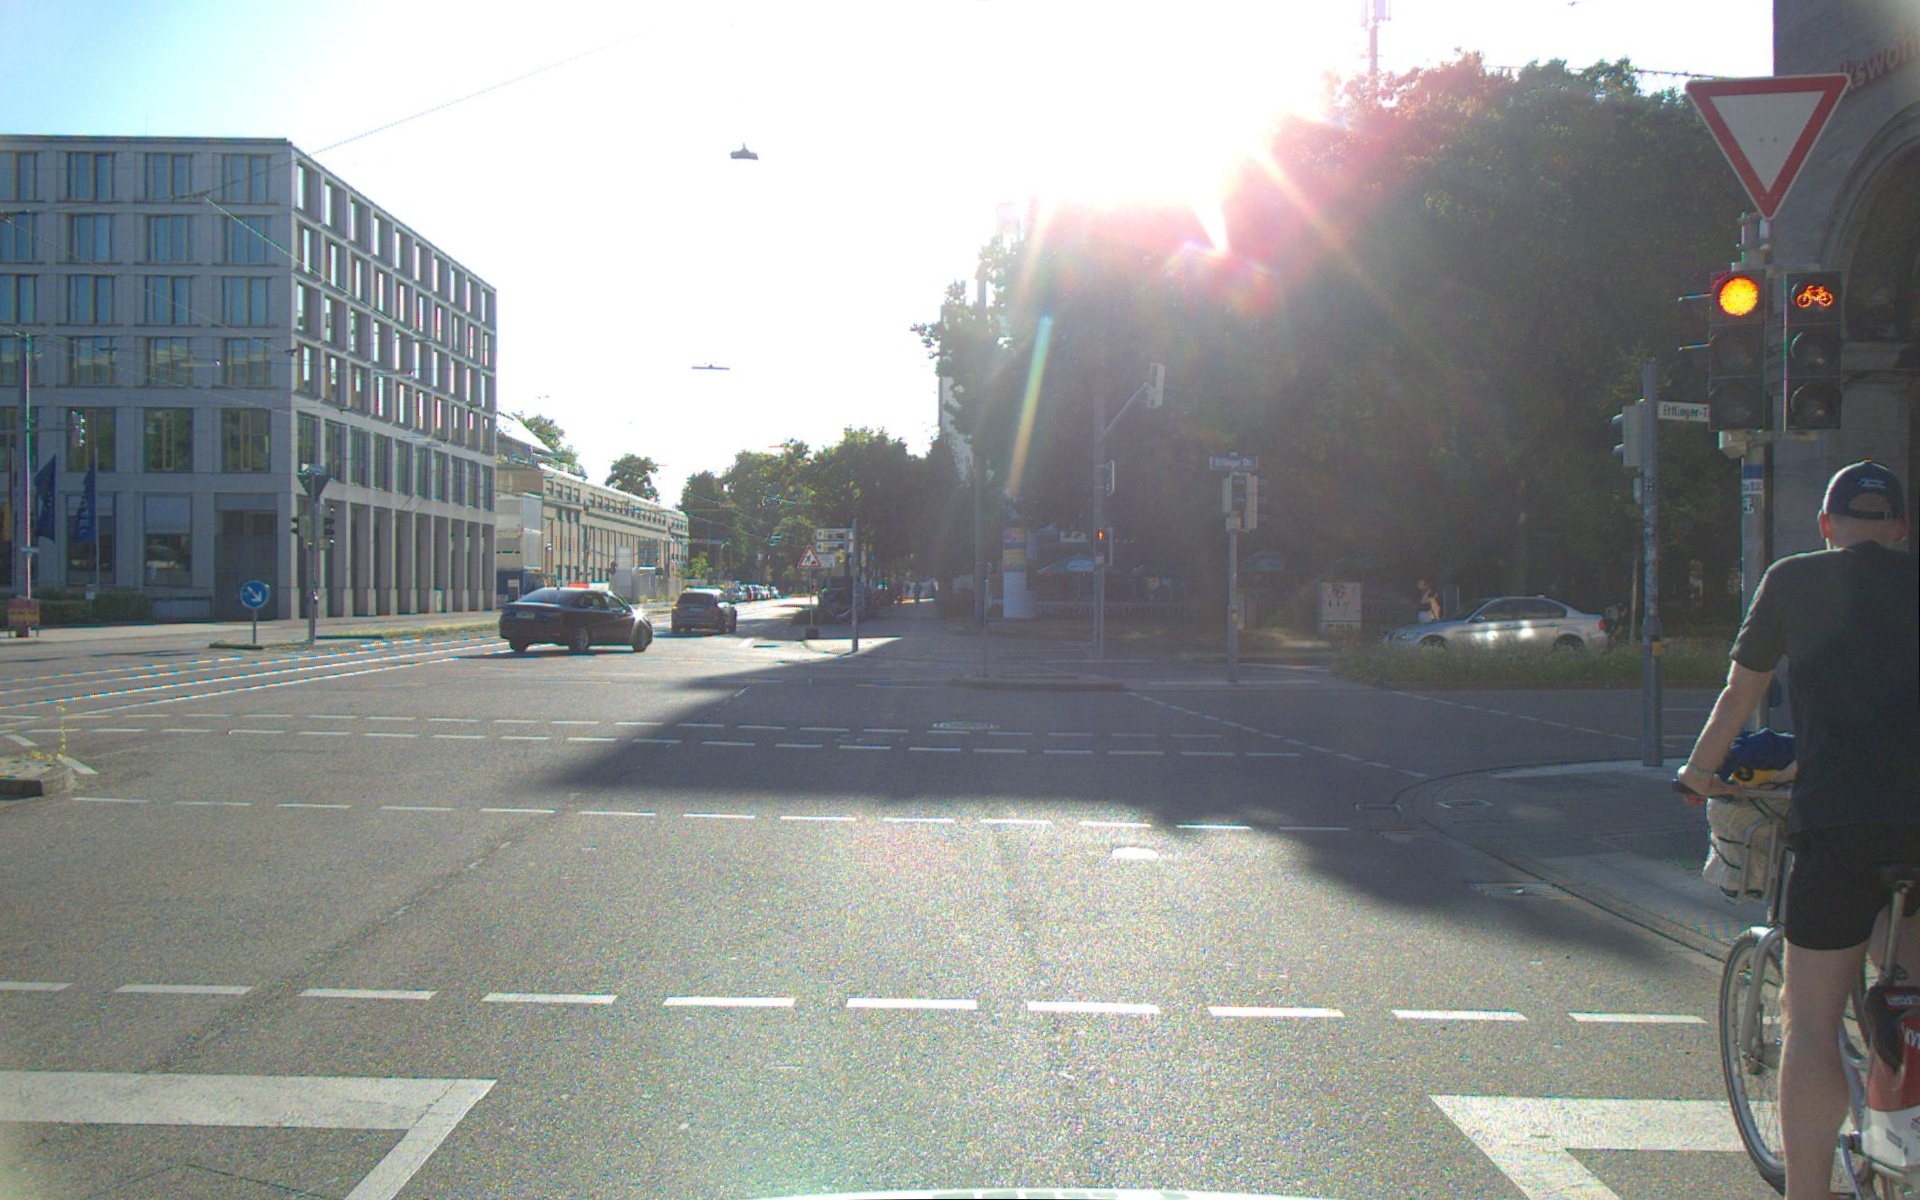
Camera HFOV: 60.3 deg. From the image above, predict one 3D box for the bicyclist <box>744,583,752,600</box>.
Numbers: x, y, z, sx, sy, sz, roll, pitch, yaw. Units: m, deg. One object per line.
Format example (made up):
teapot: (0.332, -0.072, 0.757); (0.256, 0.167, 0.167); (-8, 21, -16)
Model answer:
bicyclist: (-17.892, -0.726, 139.639); (0.584, 1.401, 0.637); (1, -1, -2)

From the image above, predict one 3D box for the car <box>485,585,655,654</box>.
car: (-8.977, 0.427, 38.421); (1.626, 1.481, 4.432); (1, 0, 21)

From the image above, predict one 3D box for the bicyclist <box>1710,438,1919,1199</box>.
bicyclist: (2.096, 0.580, 3.731); (0.547, 1.830, 0.550); (1, 0, 1)

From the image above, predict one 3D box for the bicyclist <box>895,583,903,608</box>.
bicyclist: (-4.350, -0.324, 118.781); (0.558, 1.721, 0.699); (0, 0, -1)

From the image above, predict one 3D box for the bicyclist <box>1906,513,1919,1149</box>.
bicyclist: (2.889, 0.629, 4.230); (0.546, 1.721, 0.640); (1, 0, -2)

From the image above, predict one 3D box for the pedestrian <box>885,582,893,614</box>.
pedestrian: (-4.203, -0.123, 98.181); (0.454, 1.845, 0.502); (0, 0, -5)

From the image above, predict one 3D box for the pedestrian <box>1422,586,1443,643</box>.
pedestrian: (12.799, 0.398, 44.805); (0.430, 1.529, 0.437); (0, 0, 0)

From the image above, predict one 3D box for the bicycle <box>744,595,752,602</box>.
bicycle: (-17.889, -0.138, 139.648); (0.491, 0.524, 1.257); (1, 0, -1)

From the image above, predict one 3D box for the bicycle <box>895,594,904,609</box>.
bicycle: (-4.346, 0.099, 118.792); (0.563, 1.096, 1.830); (0, 0, -1)

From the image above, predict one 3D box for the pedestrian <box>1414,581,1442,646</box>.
pedestrian: (12.526, 0.357, 44.256); (0.571, 1.692, 0.514); (1, 1, 1)

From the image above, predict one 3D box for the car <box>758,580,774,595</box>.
car: (-22.832, -1.436, 194.360); (1.659, 1.748, 4.244); (1, 0, -4)

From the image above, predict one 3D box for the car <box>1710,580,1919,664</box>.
car: (17.473, 0.436, 33.549); (3.770, 1.639, 1.650); (0, 0, -1)

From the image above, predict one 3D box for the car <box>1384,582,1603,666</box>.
car: (10.776, 0.476, 33.561); (3.912, 1.639, 1.650); (0, 0, -1)

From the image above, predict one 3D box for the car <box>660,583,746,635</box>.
car: (-8.713, 0.272, 56.471); (1.853, 1.592, 4.810); (3, 1, 3)

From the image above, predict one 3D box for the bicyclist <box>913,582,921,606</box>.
bicyclist: (-3.067, -0.448, 118.963); (0.558, 1.721, 0.699); (0, 0, -1)

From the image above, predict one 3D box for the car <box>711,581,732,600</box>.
car: (-22.472, -0.898, 156.111); (1.659, 1.748, 4.244); (1, 0, -4)

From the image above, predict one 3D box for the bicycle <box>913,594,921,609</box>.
bicycle: (-3.059, 0.122, 118.935); (0.563, 1.096, 1.830); (0, 0, -1)

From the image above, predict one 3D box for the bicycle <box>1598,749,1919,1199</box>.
bicycle: (2.077, 0.982, 3.889); (0.505, 1.096, 1.728); (1, 0, 1)

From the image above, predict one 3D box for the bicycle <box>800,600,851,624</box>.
bicycle: (-5.484, 0.507, 67.383); (1.976, 0.907, 0.650); (-2, -1, 27)

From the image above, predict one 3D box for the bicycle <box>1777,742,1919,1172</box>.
bicycle: (2.865, 1.001, 4.337); (0.523, 1.096, 1.750); (1, 0, -2)
